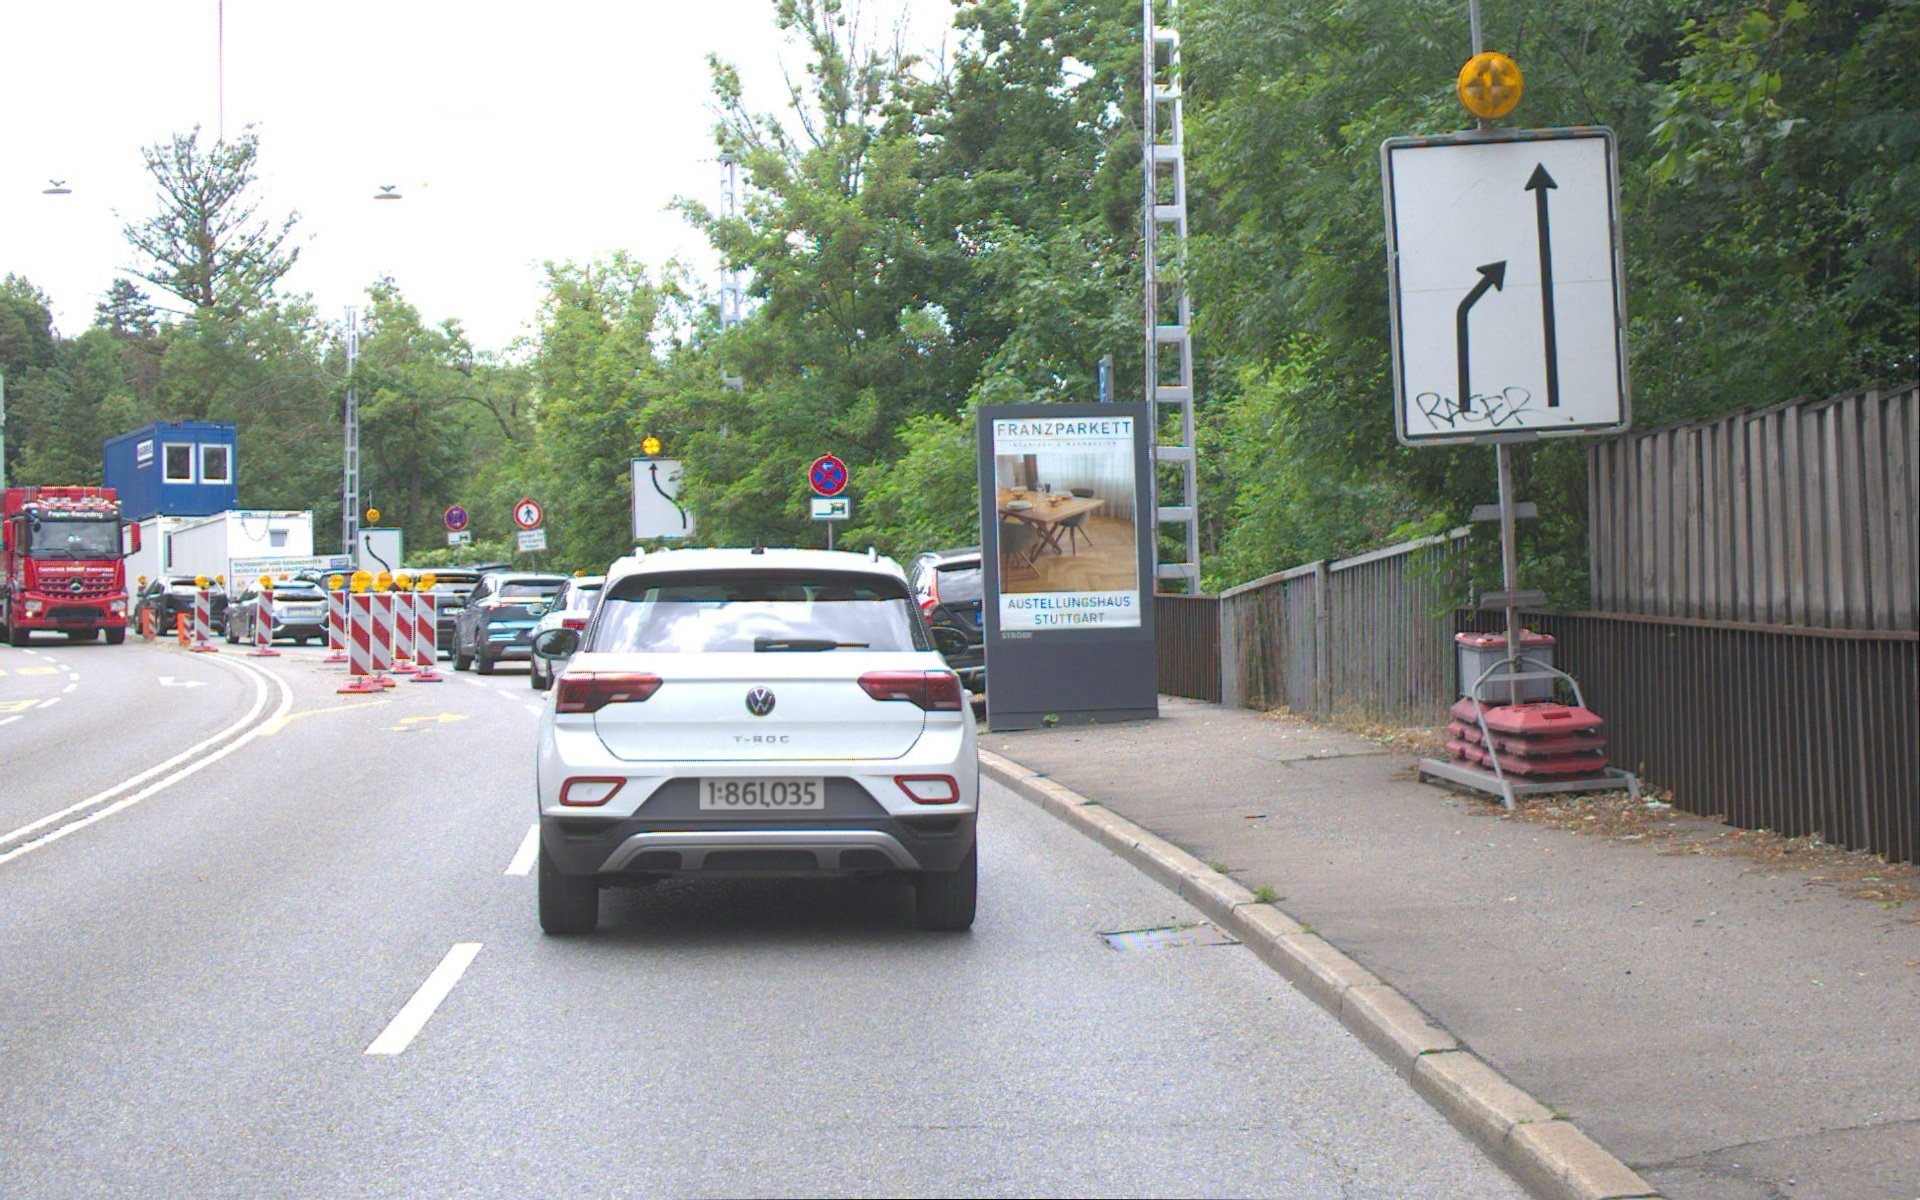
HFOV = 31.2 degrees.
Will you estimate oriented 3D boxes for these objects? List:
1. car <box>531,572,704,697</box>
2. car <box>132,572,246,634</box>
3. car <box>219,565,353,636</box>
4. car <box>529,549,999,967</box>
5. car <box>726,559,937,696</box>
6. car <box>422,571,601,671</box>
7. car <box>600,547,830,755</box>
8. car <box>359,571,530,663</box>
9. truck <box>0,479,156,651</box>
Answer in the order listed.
[{"bbox_3d":[-4.306,0.393,42.815,1.757,1.466,3.796,-1,0,-11],"label":"car"},{"bbox_3d":[-19.321,0.091,86.014,1.993,1.445,4.151,-2,0,-23],"label":"car"},{"bbox_3d":[-14.869,0.030,75.734,1.993,1.445,4.151,-2,0,-24],"label":"car"},{"bbox_3d":[-0.946,0.576,14.872,1.757,1.550,3.796,-1,0,-6],"label":"car"},{"bbox_3d":[-1.690,0.311,43.721,1.807,1.458,4.195,-7,2,-13],"label":"car"},{"bbox_3d":[-7.008,0.345,53.357,1.993,1.409,4.151,-3,0,-18],"label":"car"},{"bbox_3d":[-2.112,0.379,28.752,1.757,1.604,3.796,-1,0,-6],"label":"car"},{"bbox_3d":[-9.383,0.276,62.327,1.993,1.551,4.151,-2,1,-24],"label":"car"},{"bbox_3d":[-21.068,-0.795,80.235,2.944,3.685,9.921,-2,1,-21],"label":"truck"}]
